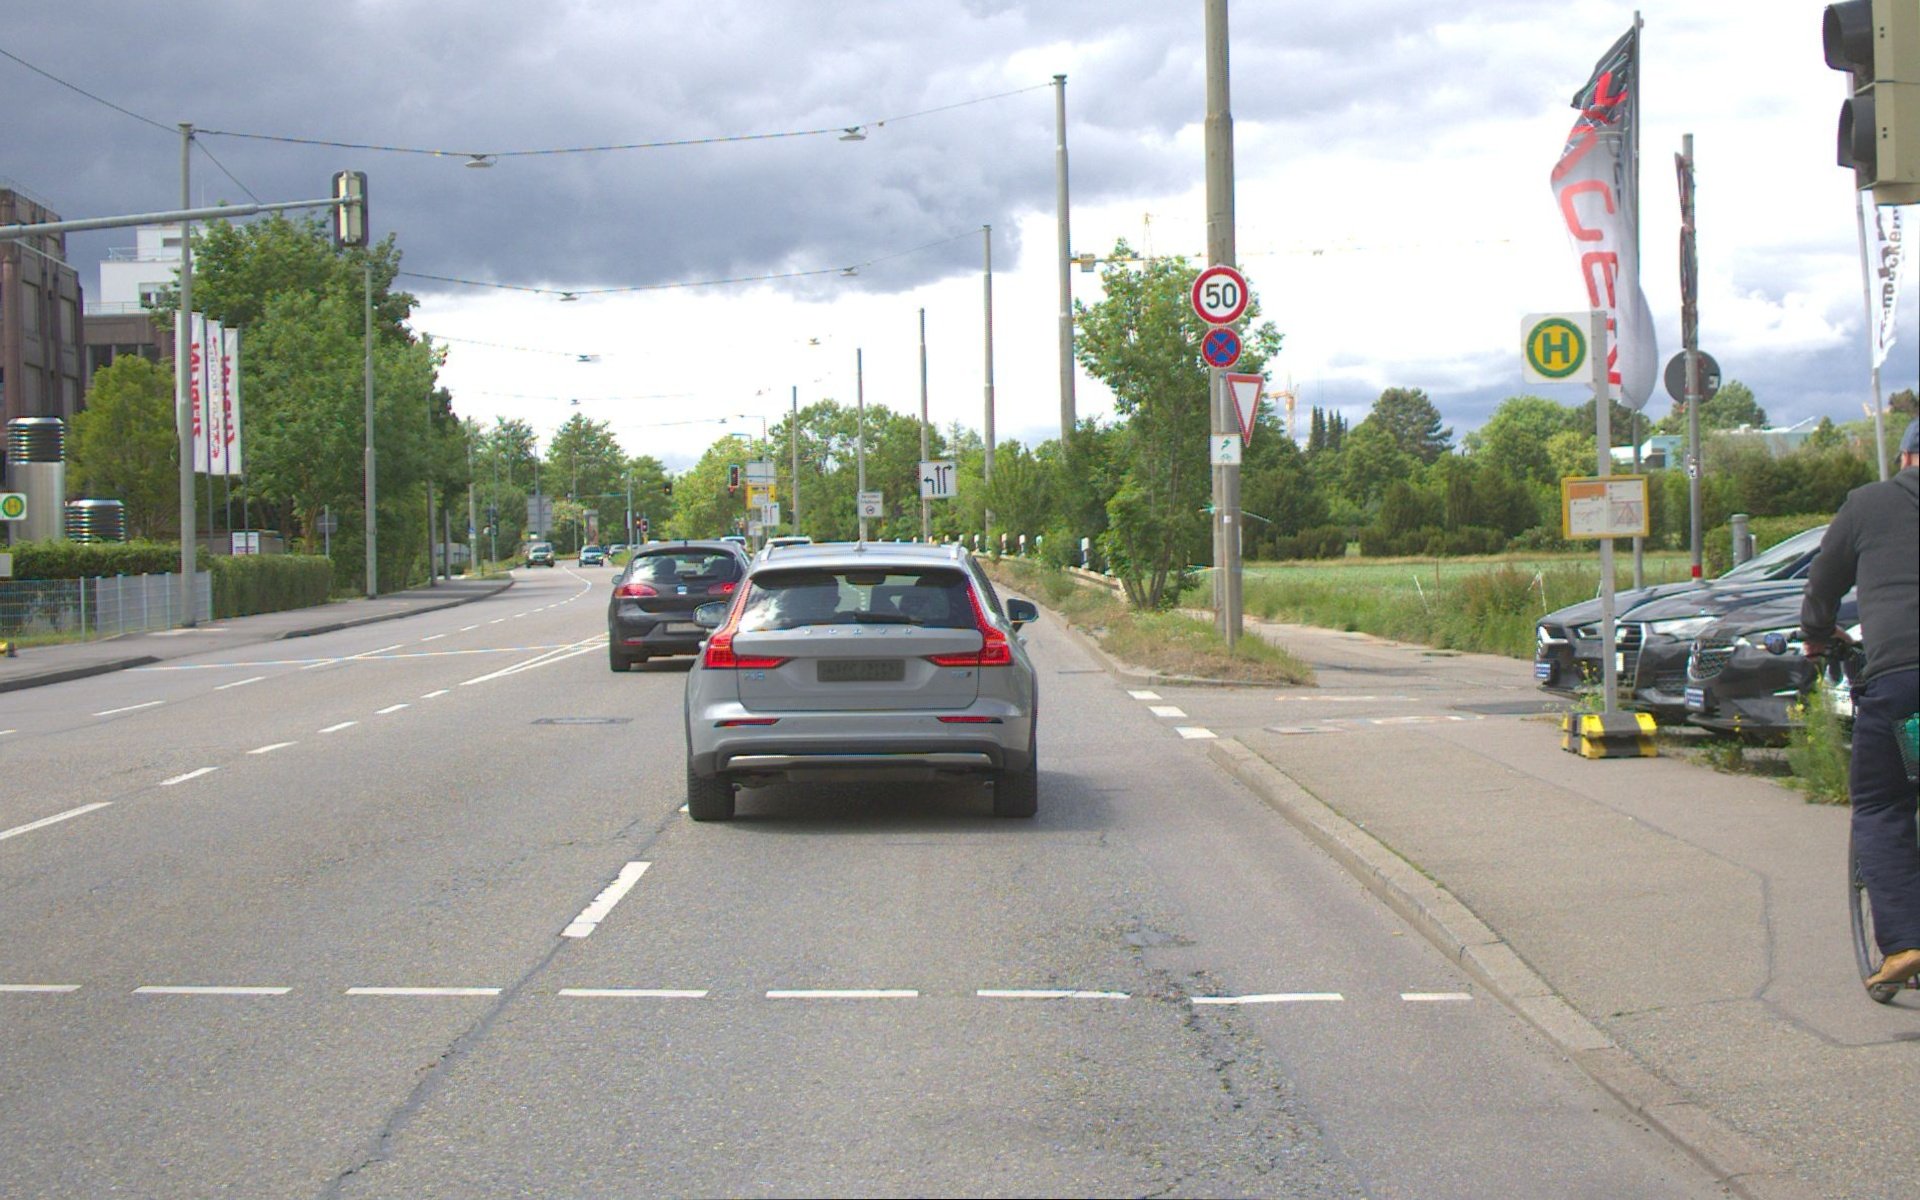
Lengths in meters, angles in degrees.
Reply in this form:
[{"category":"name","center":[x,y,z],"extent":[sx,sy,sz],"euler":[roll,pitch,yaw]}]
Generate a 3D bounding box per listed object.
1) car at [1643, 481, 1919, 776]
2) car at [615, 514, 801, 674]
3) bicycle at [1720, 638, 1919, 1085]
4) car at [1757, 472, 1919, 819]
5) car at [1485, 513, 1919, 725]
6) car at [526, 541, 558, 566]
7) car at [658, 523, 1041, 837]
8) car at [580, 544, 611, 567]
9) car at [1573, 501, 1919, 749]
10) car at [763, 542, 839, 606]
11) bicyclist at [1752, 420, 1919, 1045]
[{"category":"car","center":[6.204,0.142,18.422],"extent":[4.676,1.488,2.015],"euler":[0,1,0]},{"category":"car","center":[-2.840,-0.072,39.270],"extent":[1.993,1.711,4.000],"euler":[1,0,-3]},{"category":"bicycle","center":[2.763,0.691,9.831],"extent":[0.638,1.059,1.977],"euler":[-5,1,-1]},{"category":"car","center":[6.267,0.201,15.646],"extent":[4.800,1.475,2.032],"euler":[1,1,1]},{"category":"car","center":[6.015,0.149,24.020],"extent":[4.321,1.394,2.004],"euler":[1,-1,-3]},{"category":"car","center":[-28.838,-3.191,237.029],"extent":[1.881,1.711,4.000],"euler":[1,0,-3]},{"category":"car","center":[-0.544,0.394,19.183],"extent":[1.895,1.549,4.000],"euler":[1,0,0]},{"category":"car","center":[-25.129,-3.042,236.983],"extent":[1.881,1.515,4.000],"euler":[1,0,-3]},{"category":"car","center":[6.378,0.145,21.055],"extent":[4.852,1.425,2.038],"euler":[1,1,0]},{"category":"car","center":[-4.338,-0.705,94.087],"extent":[1.993,1.689,4.000],"euler":[1,0,-2]},{"category":"bicyclist","center":[2.727,0.334,9.704],"extent":[0.638,1.670,0.890],"euler":[-5,1,-1]}]
